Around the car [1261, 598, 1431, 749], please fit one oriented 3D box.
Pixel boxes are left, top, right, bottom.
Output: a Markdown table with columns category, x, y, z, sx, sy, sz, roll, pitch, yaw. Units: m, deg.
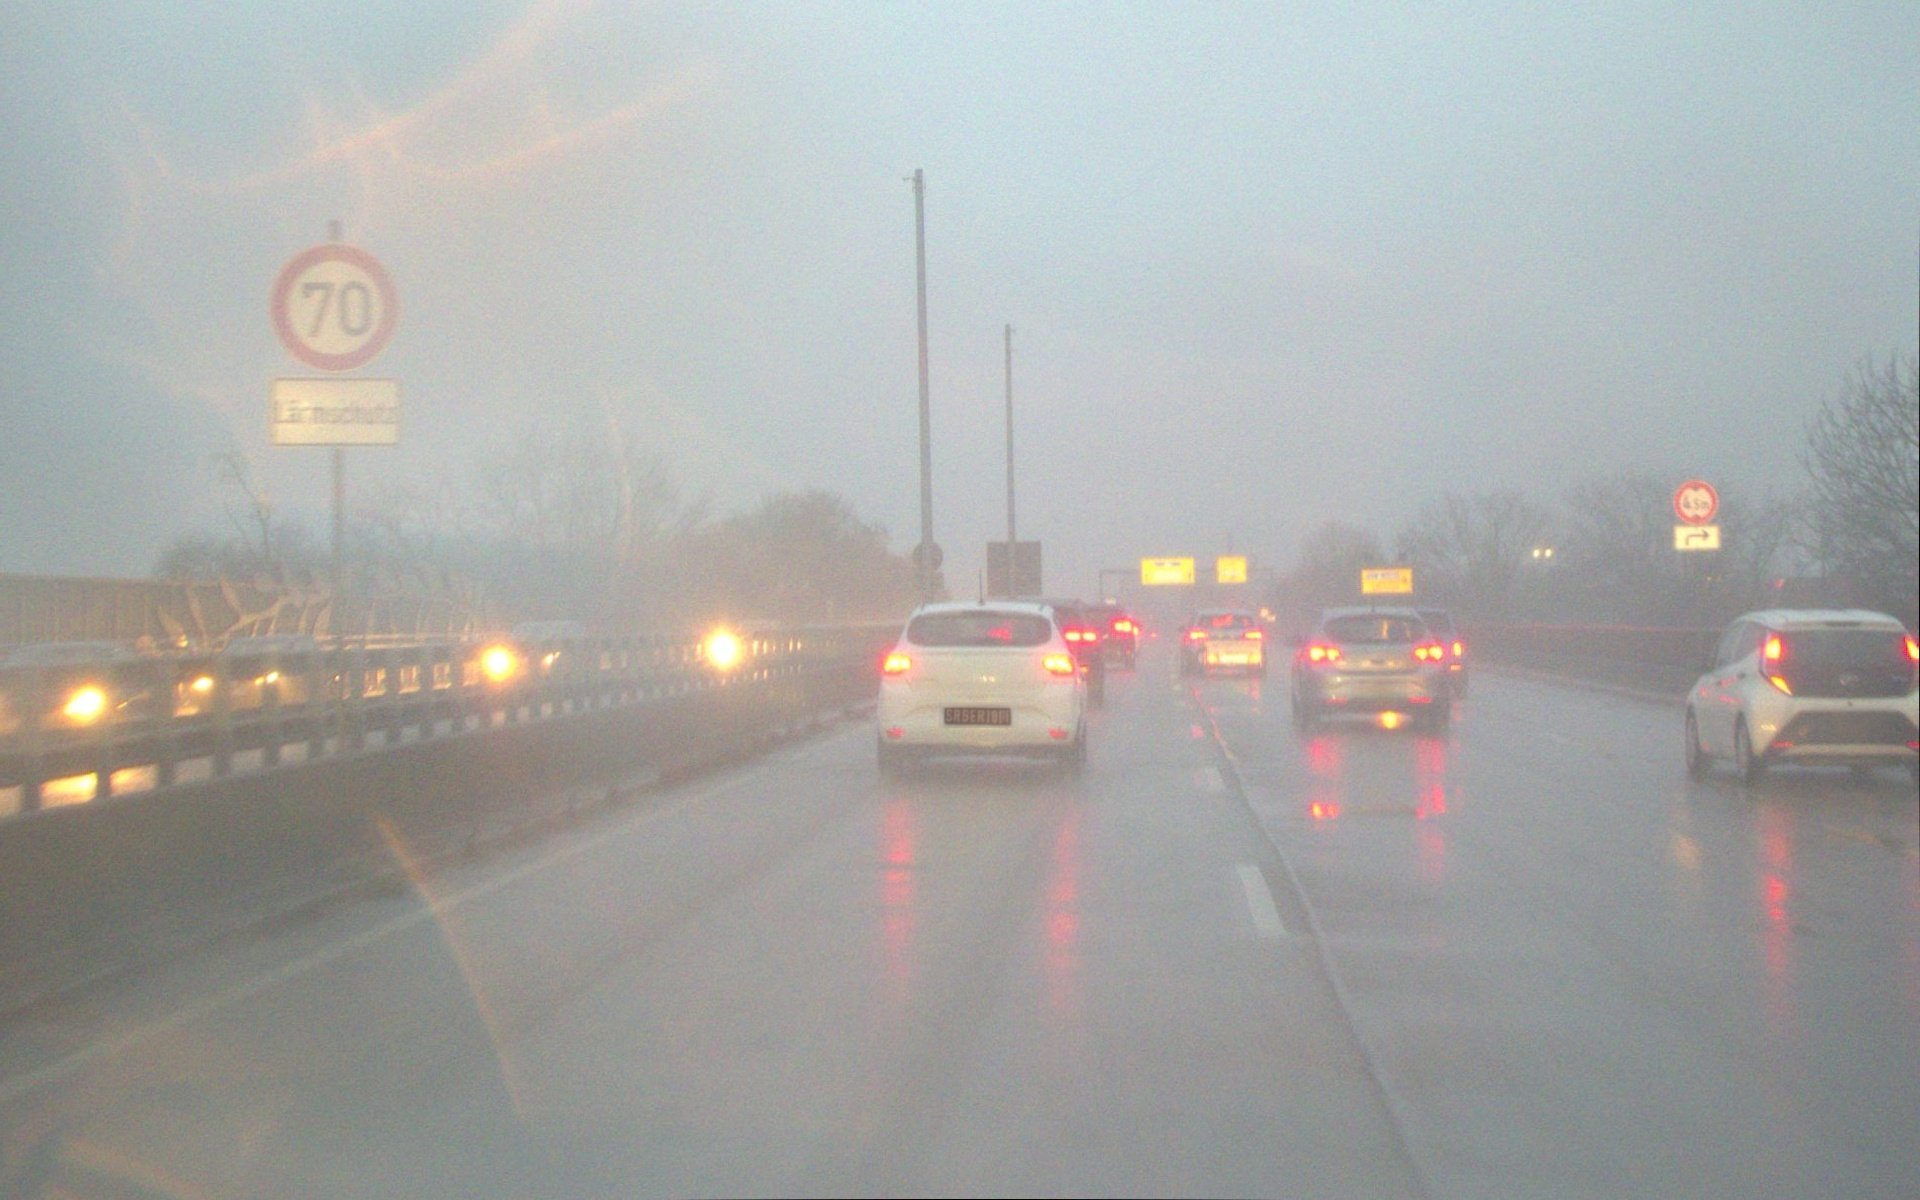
| category | x | y | z | sx | sy | sz | roll | pitch | yaw |
| --- | --- | --- | --- | --- | --- | --- | --- | --- | --- |
| car | 4.759 | 0.870 | 42.901 | 1.897 | 1.761 | 4.308 | -1 | 0 | 4 |

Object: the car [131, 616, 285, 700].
| category | x | y | z | sx | sy | sz | roll | pitch | yaw |
| --- | --- | --- | --- | --- | --- | --- | --- | --- | --- |
| car | -13.940 | 1.053 | 63.948 | 1.894 | 1.460 | 4.000 | -2 | 0 | 1 |

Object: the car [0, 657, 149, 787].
| category | x | y | z | sx | sy | sz | roll | pitch | yaw |
| --- | --- | --- | --- | --- | --- | --- | --- | --- | --- |
| car | -11.827 | 1.515 | 43.374 | 1.894 | 1.460 | 4.829 | -2 | 0 | 2 |

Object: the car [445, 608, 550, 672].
| category | x | y | z | sx | sy | sz | roll | pitch | yaw |
| --- | --- | --- | --- | --- | --- | --- | --- | --- | --- |
| car | -11.181 | 0.959 | 83.343 | 1.894 | 1.460 | 4.000 | -2 | 0 | 1 |

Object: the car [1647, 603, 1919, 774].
| category | x | y | z | sx | sy | sz | roll | pitch | yaw |
| --- | --- | --- | --- | --- | --- | --- | --- | --- | --- |
| car | 7.286 | 0.715 | 29.767 | 1.993 | 1.341 | 4.000 | 0 | 0 | 2 |

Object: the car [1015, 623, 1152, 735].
| category | x | y | z | sx | sy | sz | roll | pitch | yaw |
| --- | --- | --- | --- | --- | --- | --- | --- | --- | --- |
| car | 1.930 | 1.187 | 53.025 | 1.994 | 1.596 | 4.308 | 1 | 0 | 3 |

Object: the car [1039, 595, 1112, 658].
| category | x | y | z | sx | sy | sz | roll | pitch | yaw |
| --- | --- | --- | --- | --- | --- | --- | --- | --- | --- |
| car | 2.918 | 0.646 | 86.848 | 1.789 | 1.540 | 4.000 | -1 | 0 | 2 |

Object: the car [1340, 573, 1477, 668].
| category | x | y | z | sx | sy | sz | roll | pitch | yaw |
| --- | --- | --- | --- | --- | --- | --- | --- | --- | --- |
| car | 7.681 | 0.336 | 59.191 | 1.789 | 1.540 | 4.000 | -1 | 0 | 0 |

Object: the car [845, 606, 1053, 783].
| category | x | y | z | sx | sy | sz | roll | pitch | yaw |
| --- | --- | --- | --- | --- | --- | --- | --- | --- | --- |
| car | -0.066 | 0.792 | 30.812 | 1.724 | 1.435 | 4.225 | -1 | 0 | 1 |

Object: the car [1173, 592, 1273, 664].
| category | x | y | z | sx | sy | sz | roll | pitch | yaw |
| --- | --- | --- | --- | --- | --- | --- | --- | --- | --- |
| car | 5.772 | 0.600 | 75.810 | 1.789 | 1.540 | 4.000 | -1 | 0 | -1 |
